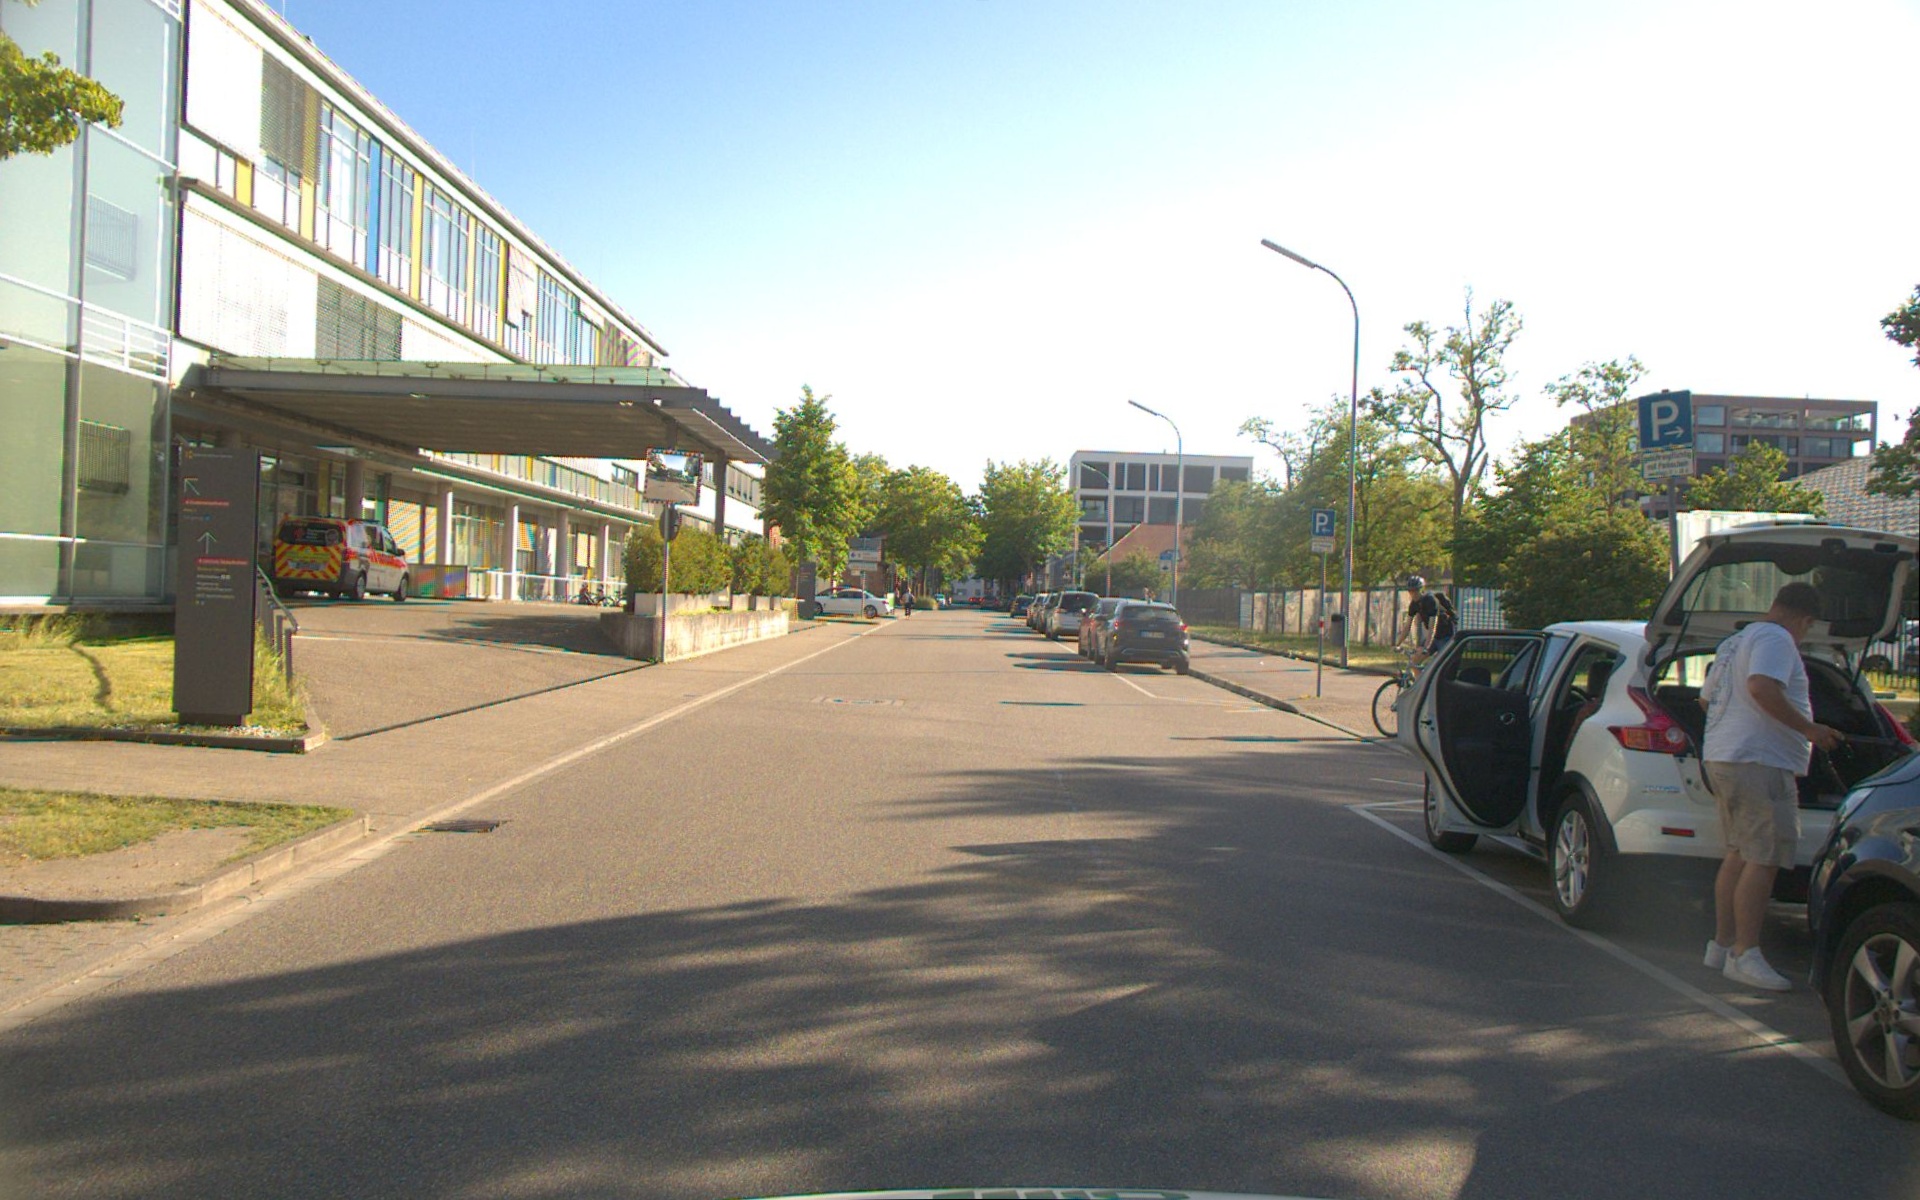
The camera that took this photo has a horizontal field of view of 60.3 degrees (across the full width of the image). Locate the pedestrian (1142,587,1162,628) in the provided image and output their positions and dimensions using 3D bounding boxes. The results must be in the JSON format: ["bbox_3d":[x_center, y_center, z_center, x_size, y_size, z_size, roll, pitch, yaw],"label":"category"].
[{"bbox_3d":[7.829,0.304,67.440,0.667,1.639,0.540,4,-1,-2],"label":"pedestrian"}]

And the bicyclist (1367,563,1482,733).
[{"bbox_3d":[5.828,0.569,20.753,1.040,2.048,0.948,-1,1,-35],"label":"bicyclist"}]

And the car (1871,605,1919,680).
[{"bbox_3d":[24.207,1.044,38.892,4.538,1.697,1.998,2,0,-5],"label":"car"}]

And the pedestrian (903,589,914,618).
[{"bbox_3d":[-2.750,0.189,87.963,0.527,1.550,0.607,1,0,1],"label":"pedestrian"}]

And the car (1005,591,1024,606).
[{"bbox_3d":[5.574,-0.165,170.532,1.731,1.465,3.999,2,0,-1],"label":"car"}]

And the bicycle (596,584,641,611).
[{"bbox_3d":[-13.512,-0.105,65.460,1.680,1.011,0.536,2,0,-1],"label":"bicycle"}]

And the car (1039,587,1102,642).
[{"bbox_3d":[3.896,0.481,58.982,1.772,1.752,4.703,3,0,-1],"label":"car"}]

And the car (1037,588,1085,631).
[{"bbox_3d":[4.123,0.358,68.194,1.666,1.634,4.353,3,0,0],"label":"car"}]

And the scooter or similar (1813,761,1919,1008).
[{"bbox_3d":[4.088,1.204,7.016,0.677,0.921,0.705,4,0,18],"label":"scooter or similar"}]

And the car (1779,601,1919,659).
[{"bbox_3d":[24.029,0.795,43.817,3.811,1.403,1.674,2,0,-3],"label":"car"}]

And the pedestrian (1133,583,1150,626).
[{"bbox_3d":[7.453,0.191,68.016,0.511,1.738,0.522,4,-1,-2],"label":"pedestrian"}]

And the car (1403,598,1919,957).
[{"bbox_3d":[3.957,0.818,9.607,1.630,1.540,4.114,3,0,1],"label":"car"}]

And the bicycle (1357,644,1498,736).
[{"bbox_3d":[5.892,1.110,20.805,1.864,1.026,0.692,-1,2,-35],"label":"bicycle"}]

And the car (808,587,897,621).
[{"bbox_3d":[-5.472,0.198,84.128,4.424,1.391,1.698,4,0,-5],"label":"car"}]

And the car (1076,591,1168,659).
[{"bbox_3d":[4.098,0.587,42.535,1.772,1.536,4.721,3,0,-1],"label":"car"}]

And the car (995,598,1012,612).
[{"bbox_3d":[5.270,0.623,199.847,1.910,1.605,3.837,2,0,1],"label":"car"}]

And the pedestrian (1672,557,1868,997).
[{"bbox_3d":[3.508,0.728,7.214,0.576,1.776,0.705,4,0,18],"label":"pedestrian"}]

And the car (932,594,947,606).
[{"bbox_3d":[-2.621,0.006,210.674,1.731,1.513,3.999,2,0,-1],"label":"car"}]

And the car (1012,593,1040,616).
[{"bbox_3d":[4.355,0.288,109.433,1.780,1.478,4.215,2,0,1],"label":"car"}]

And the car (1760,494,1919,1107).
[{"bbox_3d":[4.003,0.686,3.573,1.827,1.902,5.019,3,0,-3],"label":"car"}]

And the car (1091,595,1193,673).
[{"bbox_3d":[3.976,0.703,36.751,1.666,1.513,4.214,3,0,-1],"label":"car"}]

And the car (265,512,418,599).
[{"bbox_3d":[-14.784,-1.031,39.805,1.880,1.924,4.711,2,0,0],"label":"car"}]

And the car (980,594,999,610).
[{"bbox_3d":[3.005,0.193,169.288,1.731,1.575,4.065,2,0,-1],"label":"car"}]
